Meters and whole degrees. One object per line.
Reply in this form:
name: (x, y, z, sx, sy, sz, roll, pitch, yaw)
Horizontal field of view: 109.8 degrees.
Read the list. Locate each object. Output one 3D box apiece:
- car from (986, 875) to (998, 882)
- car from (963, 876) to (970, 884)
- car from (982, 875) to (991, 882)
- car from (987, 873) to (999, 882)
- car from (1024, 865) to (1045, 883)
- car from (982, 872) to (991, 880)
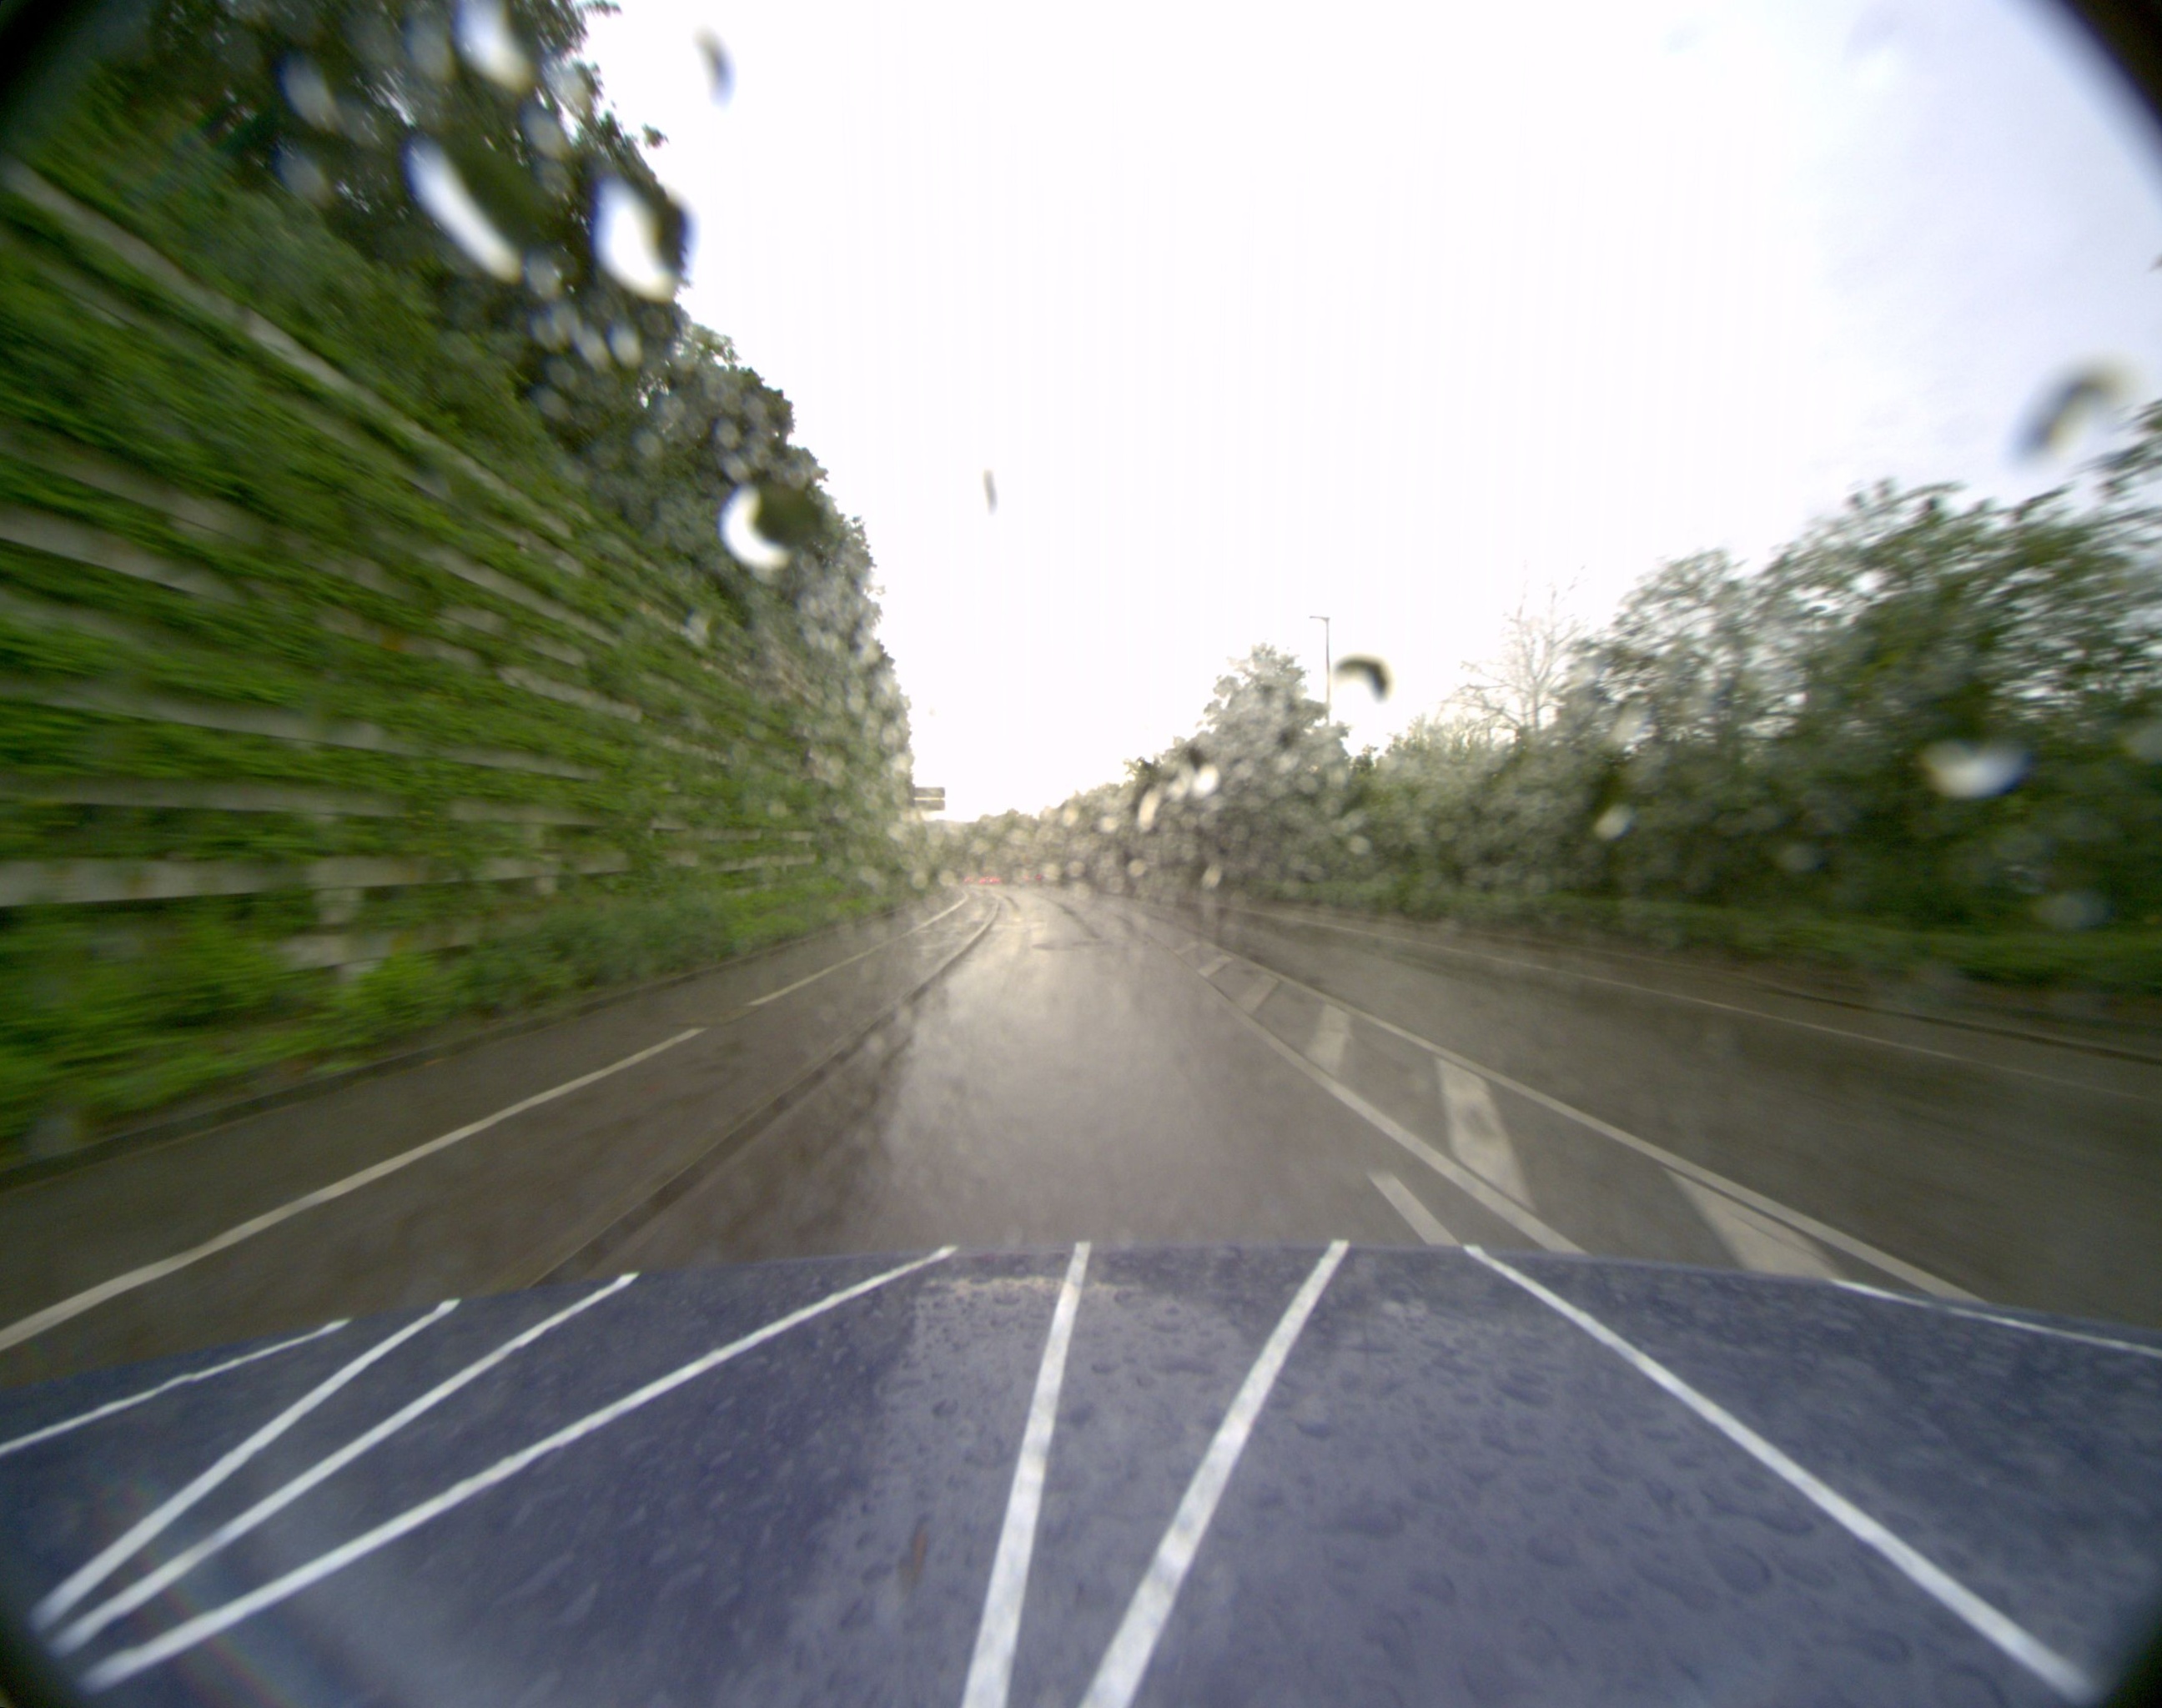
car: (-19.774, 5.415, 168.405, 2.001, 1.517, 3.995, -1, 0, -14)
car: (-29.097, 6.566, 192.902, 1.800, 1.832, 3.997, -2, 0, -8)
car: (-23.050, 6.017, 185.224, 2.000, 1.517, 3.996, -2, 0, -11)
car: (-15.697, 4.143, 135.251, 1.800, 1.401, 3.996, -2, 0, -9)
car: (-4.553, 1.947, 74.380, 1.803, 1.626, 3.998, 0, -1, -7)
car: (-25.032, 5.837, 201.546, 1.999, 2.001, 4.000, -2, 0, -2)
